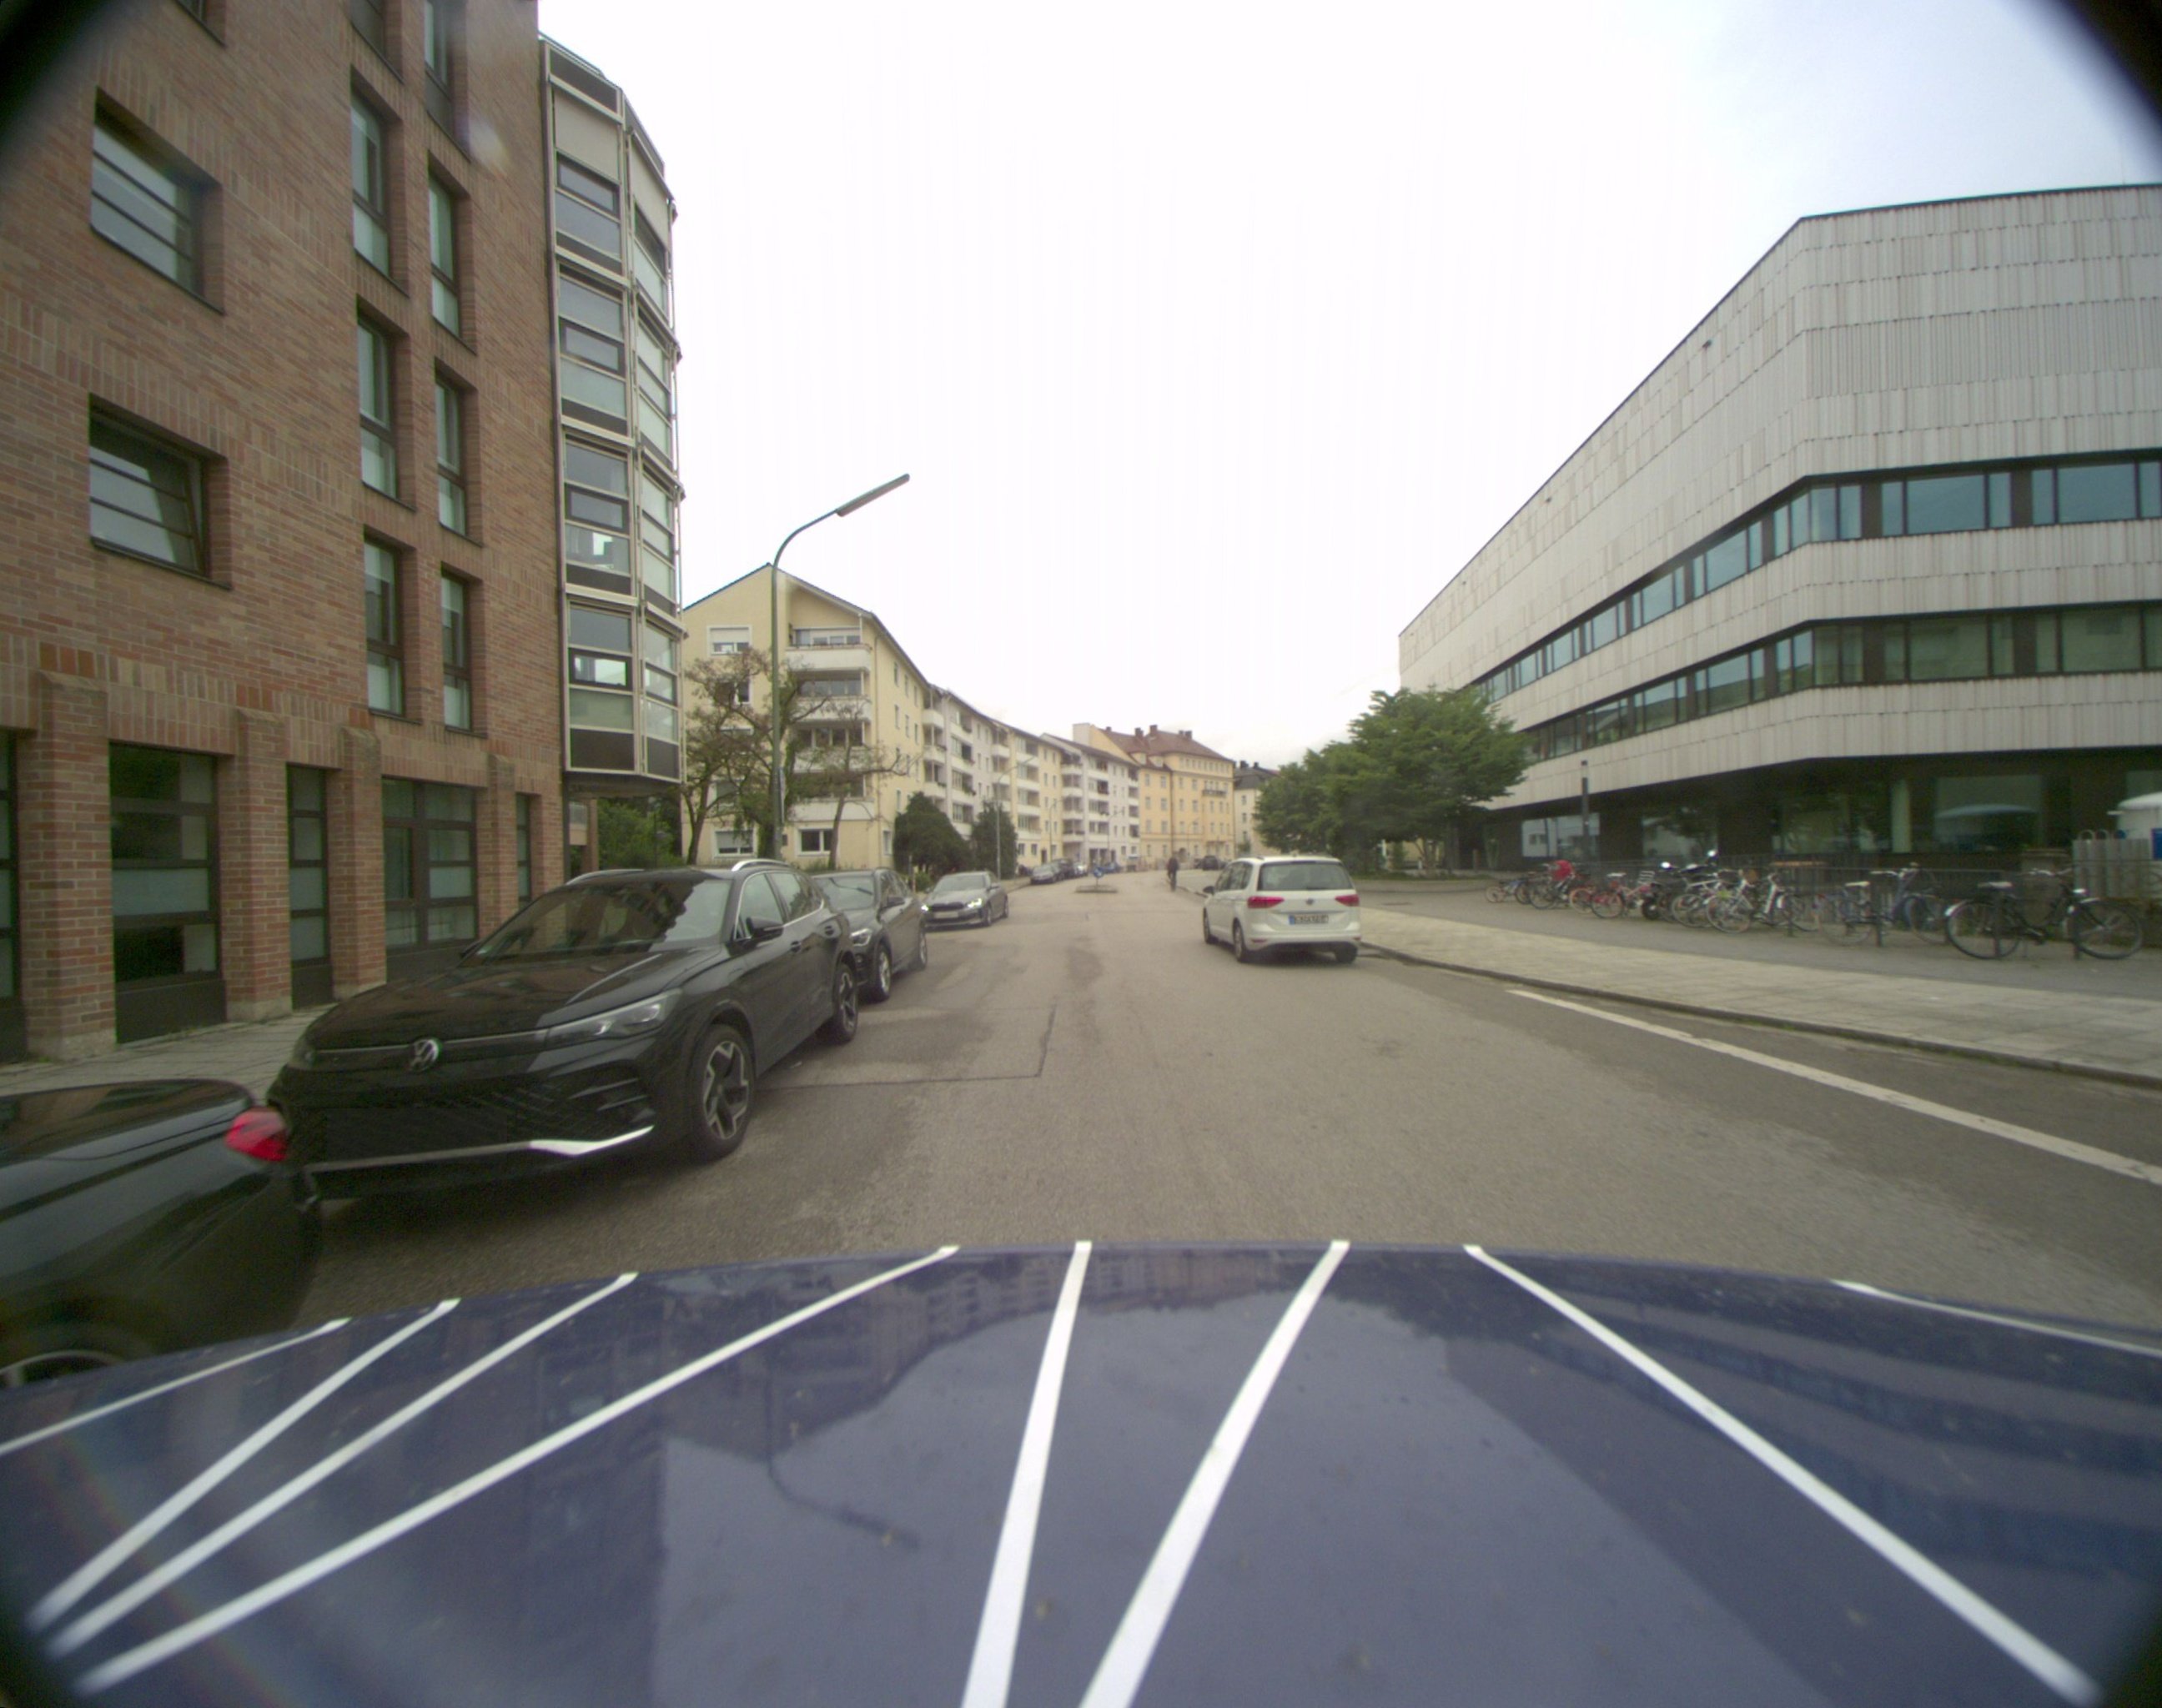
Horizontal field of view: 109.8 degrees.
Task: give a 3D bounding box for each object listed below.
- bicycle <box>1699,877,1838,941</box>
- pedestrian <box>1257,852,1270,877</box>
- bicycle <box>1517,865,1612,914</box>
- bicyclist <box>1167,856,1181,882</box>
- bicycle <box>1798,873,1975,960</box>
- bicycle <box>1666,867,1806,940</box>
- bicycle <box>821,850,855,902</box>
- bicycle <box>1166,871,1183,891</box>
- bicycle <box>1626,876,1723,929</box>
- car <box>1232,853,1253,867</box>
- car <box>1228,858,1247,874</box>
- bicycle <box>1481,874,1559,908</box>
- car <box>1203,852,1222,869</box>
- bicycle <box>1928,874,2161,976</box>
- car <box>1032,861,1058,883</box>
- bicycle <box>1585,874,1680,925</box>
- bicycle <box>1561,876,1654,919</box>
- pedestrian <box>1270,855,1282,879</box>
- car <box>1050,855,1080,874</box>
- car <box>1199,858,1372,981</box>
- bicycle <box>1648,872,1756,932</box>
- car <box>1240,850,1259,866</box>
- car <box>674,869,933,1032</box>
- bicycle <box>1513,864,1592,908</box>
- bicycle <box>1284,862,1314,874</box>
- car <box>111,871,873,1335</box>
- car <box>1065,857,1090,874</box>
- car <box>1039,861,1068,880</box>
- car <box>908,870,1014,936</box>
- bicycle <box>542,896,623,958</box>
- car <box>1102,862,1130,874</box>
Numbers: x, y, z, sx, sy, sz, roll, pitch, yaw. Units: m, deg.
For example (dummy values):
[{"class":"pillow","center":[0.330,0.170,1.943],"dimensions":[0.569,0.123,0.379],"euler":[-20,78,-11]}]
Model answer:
[{"class":"bicycle","center":[11.745,0.932,13.007],"dimensions":[1.815,1.017,0.519],"euler":[-1,0,4]},{"class":"pedestrian","center":[13.316,0.768,55.423],"dimensions":[0.787,1.776,0.516],"euler":[-1,0,0]},{"class":"bicycle","center":[12.342,0.898,19.420],"dimensions":[1.914,1.186,0.745],"euler":[-1,0,2]},{"class":"bicyclist","center":[4.898,0.765,39.911],"dimensions":[0.618,1.342,0.832],"euler":[-1,0,0]},{"class":"bicycle","center":[11.297,0.873,10.694],"dimensions":[1.815,1.145,0.519],"euler":[-1,0,5]},{"class":"bicycle","center":[11.663,0.872,13.563],"dimensions":[1.945,1.209,0.497],"euler":[-2,0,5]},{"class":"bicycle","center":[-9.723,0.870,30.480],"dimensions":[0.653,2.002,1.993],"euler":[-1,0,0]},{"class":"bicycle","center":[4.919,1.429,40.179],"dimensions":[0.707,1.042,1.464],"euler":[1,-1,0]},{"class":"bicycle","center":[12.150,0.980,15.572],"dimensions":[1.586,1.005,0.442],"euler":[-2,0,2]},{"class":"car","center":[23.202,0.832,109.135],"dimensions":[1.889,2.002,4.007],"euler":[-1,0,26]},{"class":"car","center":[21.145,1.596,102.723],"dimensions":[1.890,2.002,4.006],"euler":[-1,0,20]},{"class":"bicycle","center":[12.836,1.065,22.256],"dimensions":[1.850,0.921,0.739],"euler":[-1,0,2]},{"class":"car","center":[16.010,0.769,92.321],"dimensions":[1.891,2.002,4.005],"euler":[-1,0,15]},{"class":"bicycle","center":[11.445,0.839,9.064],"dimensions":[1.813,1.145,0.520],"euler":[-1,0,13]},{"class":"car","center":[-2.688,1.346,58.058],"dimensions":[1.755,1.483,4.000],"euler":[-1,0,0]},{"class":"bicycle","center":[11.797,0.977,16.275],"dimensions":[1.585,1.010,0.443],"euler":[-2,0,11]},{"class":"bicycle","center":[12.277,1.010,17.743],"dimensions":[1.818,0.957,0.473],"euler":[-1,0,1]},{"class":"pedestrian","center":[14.676,0.988,57.186],"dimensions":[0.787,1.776,0.516],"euler":[-1,0,0]},{"class":"car","center":[-1.391,0.916,67.798],"dimensions":[1.997,1.586,4.003],"euler":[-1,0,9]},{"class":"car","center":[3.163,0.921,12.631],"dimensions":[1.797,1.663,4.149],"euler":[-1,0,1]},{"class":"bicycle","center":[12.154,0.935,14.892],"dimensions":[1.656,1.097,0.501],"euler":[-1,0,3]},{"class":"car","center":[25.393,0.641,114.379],"dimensions":[1.889,2.342,4.007],"euler":[-1,0,26]},{"class":"car","center":[-3.285,1.031,10.061],"dimensions":[1.882,1.581,4.507],"euler":[-1,0,-2]},{"class":"bicycle","center":[13.118,0.887,21.166],"dimensions":[1.815,1.145,0.519],"euler":[-1,0,5]},{"class":"bicycle","center":[17.697,1.144,61.735],"dimensions":[2.146,0.985,0.798],"euler":[-1,0,-10]},{"class":"car","center":[-2.947,1.025,5.348],"dimensions":[1.883,1.636,4.642],"euler":[-4,0,-4]},{"class":"car","center":[-0.337,1.105,75.857],"dimensions":[1.997,1.630,4.002],"euler":[-1,0,8]},{"class":"car","center":[-2.263,1.325,63.149],"dimensions":[1.823,1.467,4.002],"euler":[-1,-1,6]},{"class":"car","center":[-3.115,1.235,20.706],"dimensions":[1.882,1.428,4.335],"euler":[-4,0,3]},{"class":"bicycle","center":[-9.626,1.385,14.728],"dimensions":[0.536,1.050,1.518],"euler":[-1,0,0]},{"class":"car","center":[4.289,1.683,92.455],"dimensions":[1.680,1.280,4.008],"euler":[-1,0,32]}]
